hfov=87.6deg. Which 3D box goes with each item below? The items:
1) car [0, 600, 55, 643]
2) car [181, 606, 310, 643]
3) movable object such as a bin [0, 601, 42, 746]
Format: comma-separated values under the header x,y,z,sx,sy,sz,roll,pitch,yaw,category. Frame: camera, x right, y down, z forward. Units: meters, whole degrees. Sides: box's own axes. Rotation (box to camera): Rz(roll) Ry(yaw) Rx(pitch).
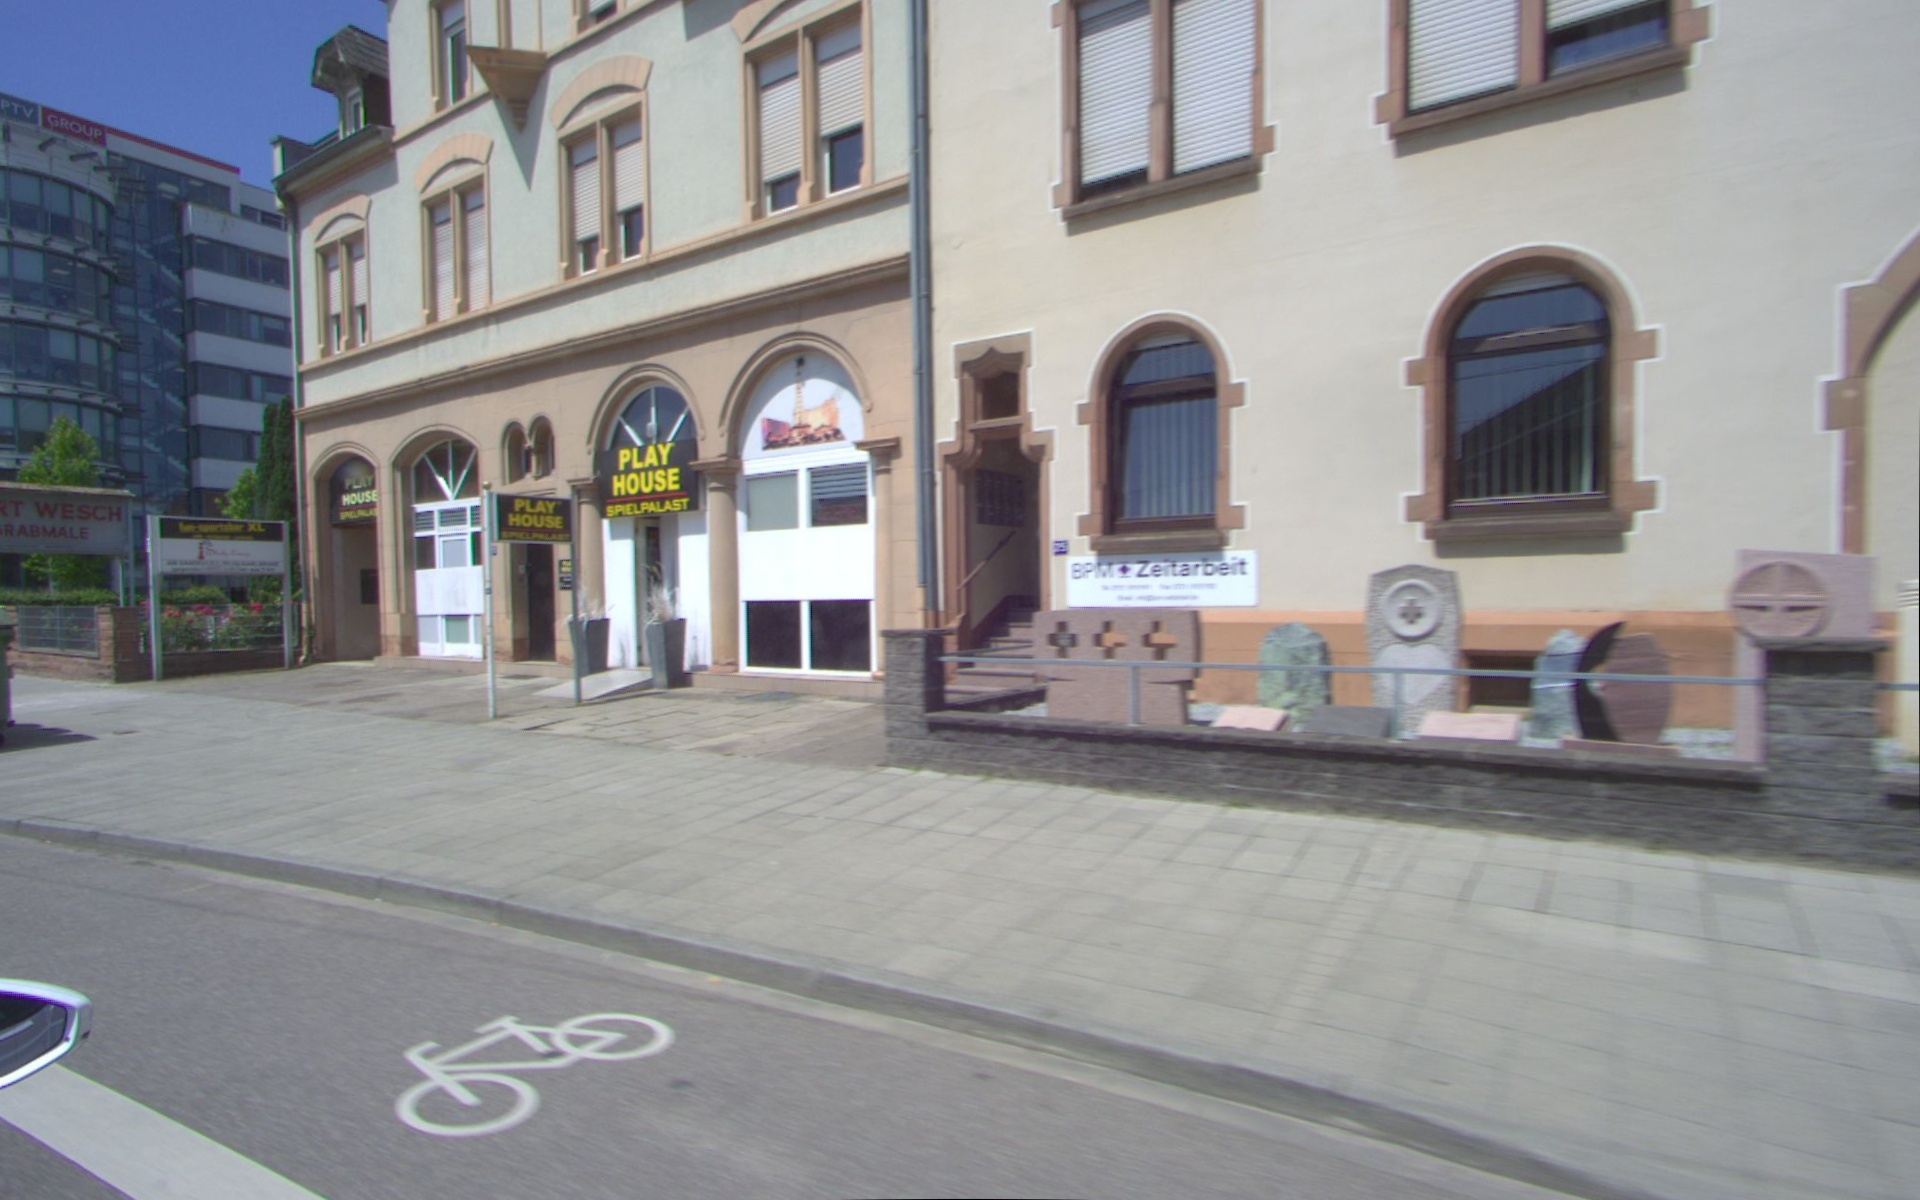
x,y,z,sx,sy,sz,roll,pitch,yaw,category
-35.178,0.785,35.604,1.793,1.479,4.136,0,1,34,car
-30.433,1.024,42.770,1.741,1.428,4.143,0,1,29,car
-10.571,0.784,10.227,1.121,1.475,1.390,0,3,27,movable object such as a bin
